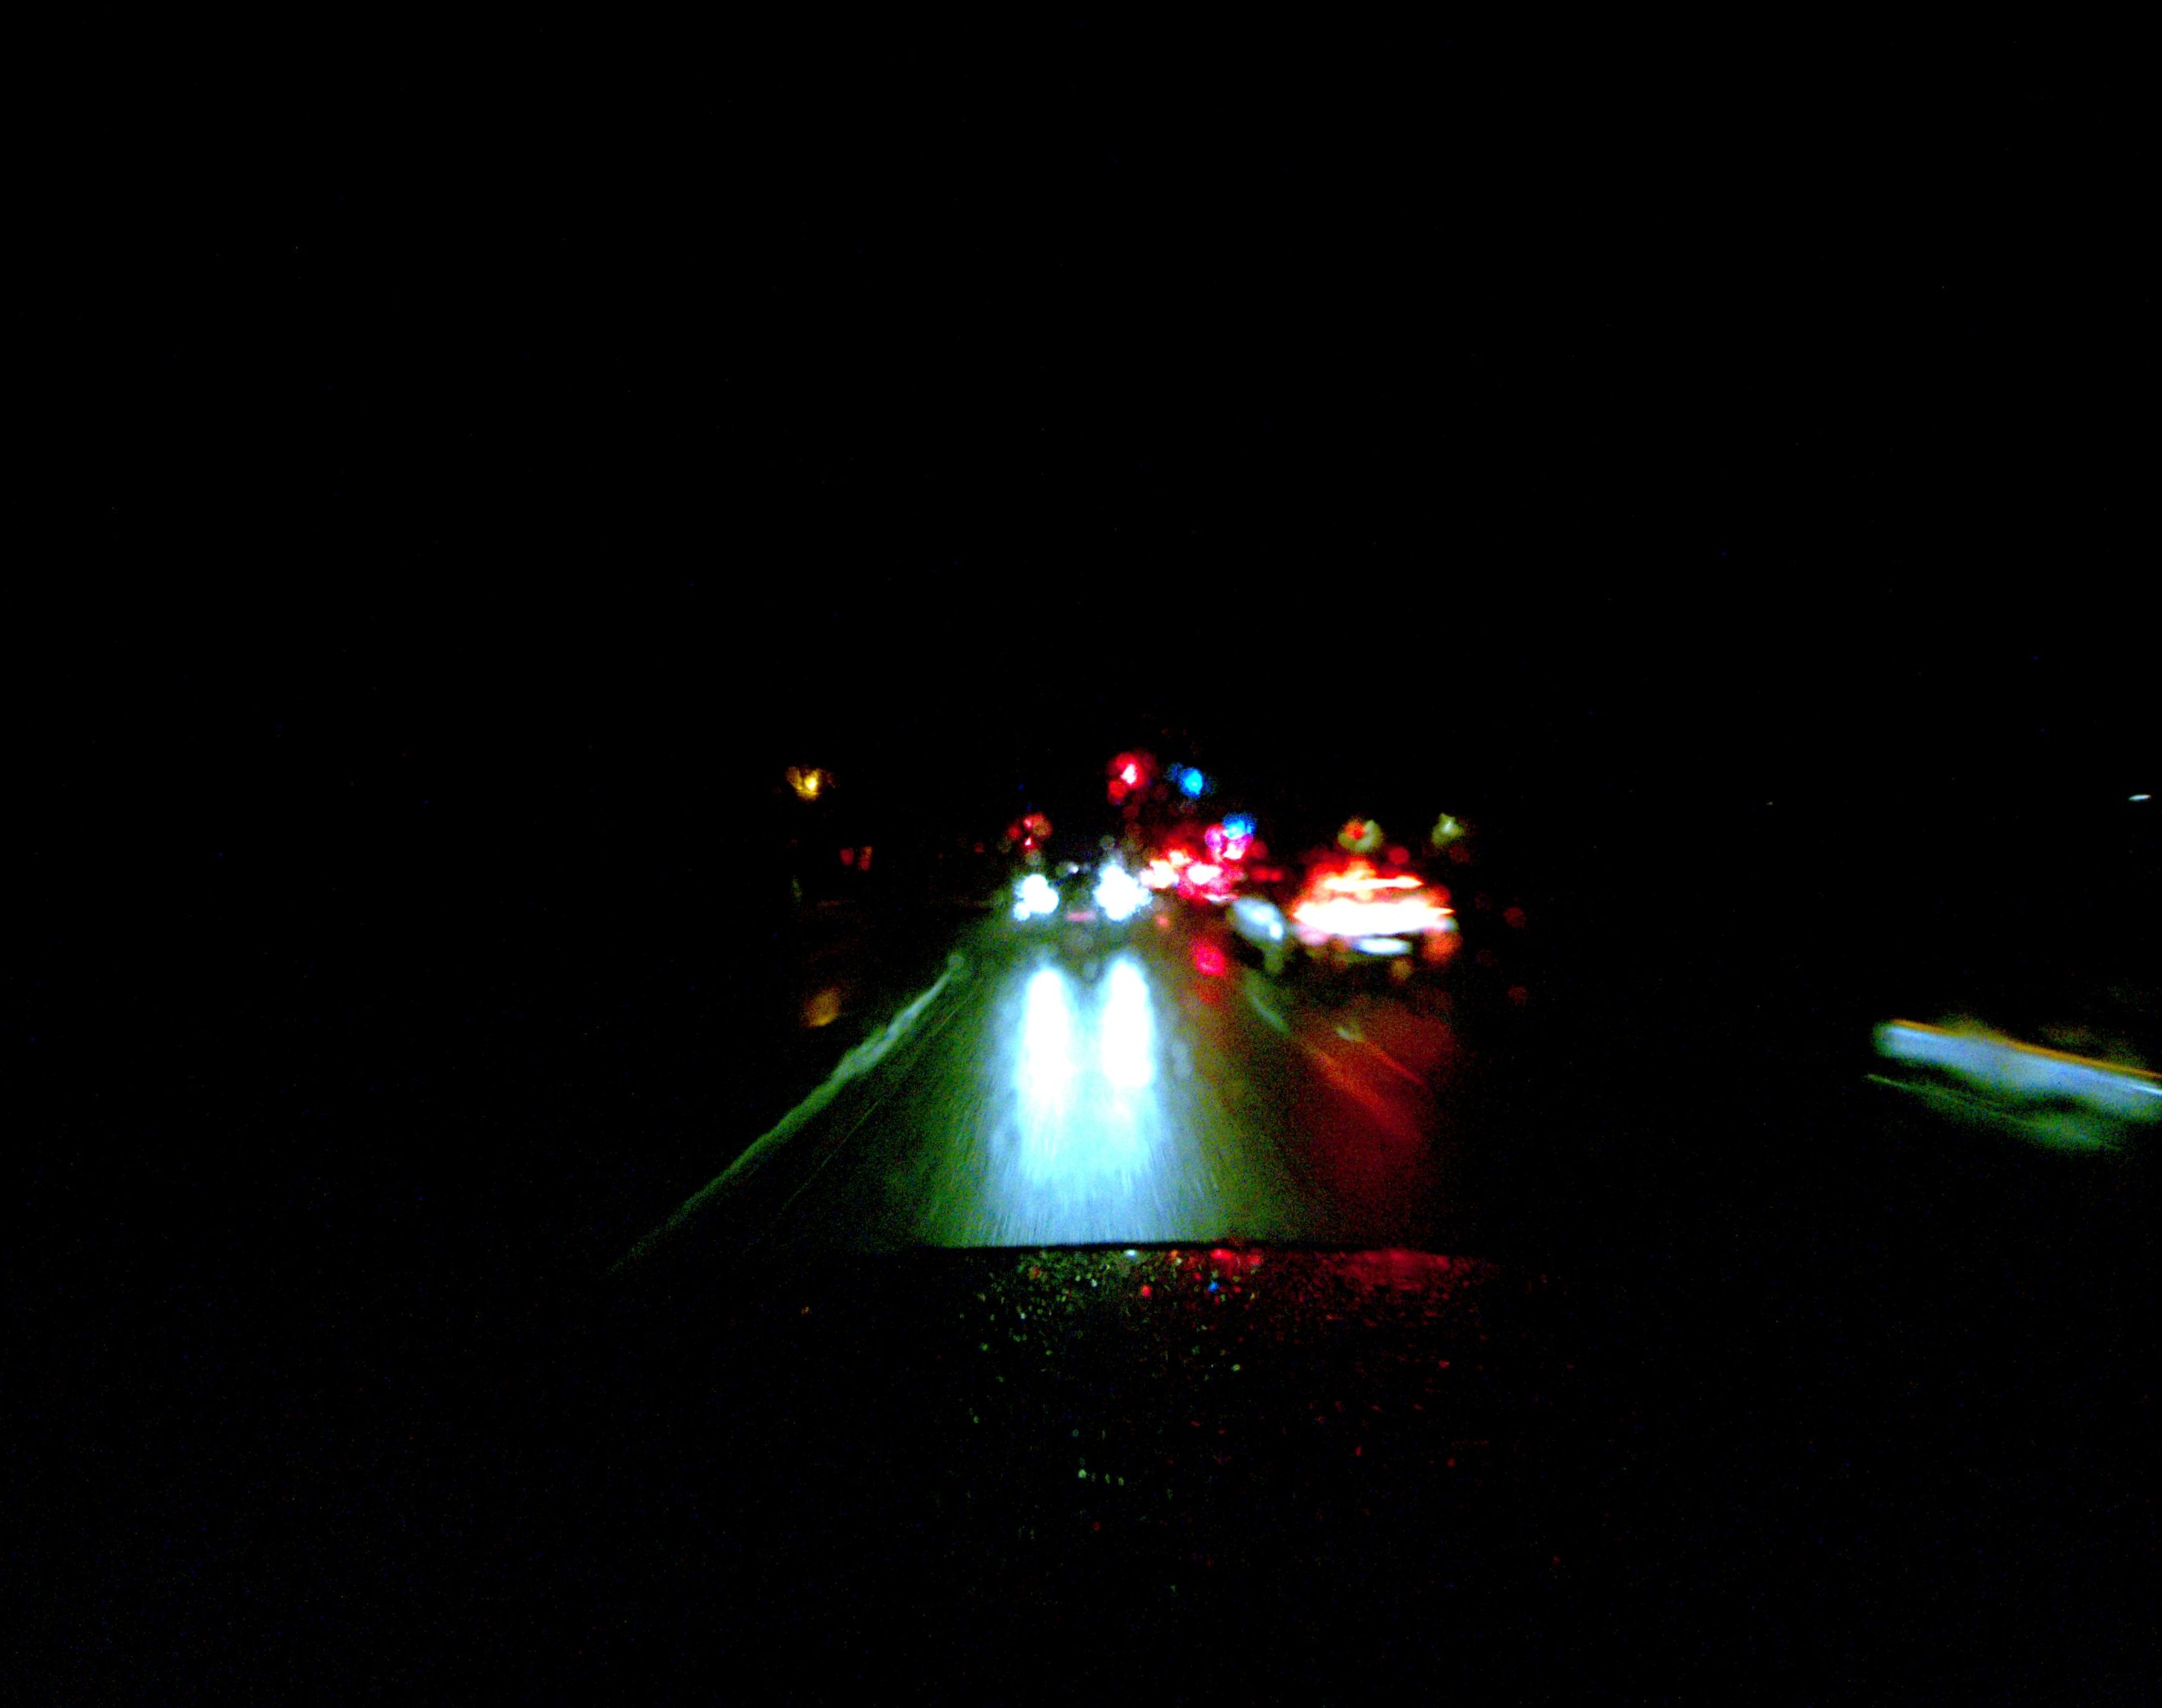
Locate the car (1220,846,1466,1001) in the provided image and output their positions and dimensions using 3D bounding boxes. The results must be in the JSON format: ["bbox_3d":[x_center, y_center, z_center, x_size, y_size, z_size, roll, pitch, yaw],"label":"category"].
[{"bbox_3d":[3.166,0.734,10.257,1.848,1.565,4.597,-2,0,2],"label":"car"}]

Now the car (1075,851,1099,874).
[{"bbox_3d":[0.570,0.703,64.246,1.759,1.807,4.711,-3,0,3],"label":"car"}]

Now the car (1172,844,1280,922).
[{"bbox_3d":[3.454,0.647,18.912,1.848,1.659,4.445,-2,0,1],"label":"car"}]

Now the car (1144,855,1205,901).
[{"bbox_3d":[3.290,0.806,27.318,1.626,1.464,3.884,-2,0,-1],"label":"car"}]

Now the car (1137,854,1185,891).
[{"bbox_3d":[3.481,0.778,33.603,1.673,1.464,3.633,-2,0,-1],"label":"car"}]

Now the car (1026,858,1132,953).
[{"bbox_3d":[0.025,0.918,15.657,1.809,1.590,4.787,-2,0,1],"label":"car"}]
